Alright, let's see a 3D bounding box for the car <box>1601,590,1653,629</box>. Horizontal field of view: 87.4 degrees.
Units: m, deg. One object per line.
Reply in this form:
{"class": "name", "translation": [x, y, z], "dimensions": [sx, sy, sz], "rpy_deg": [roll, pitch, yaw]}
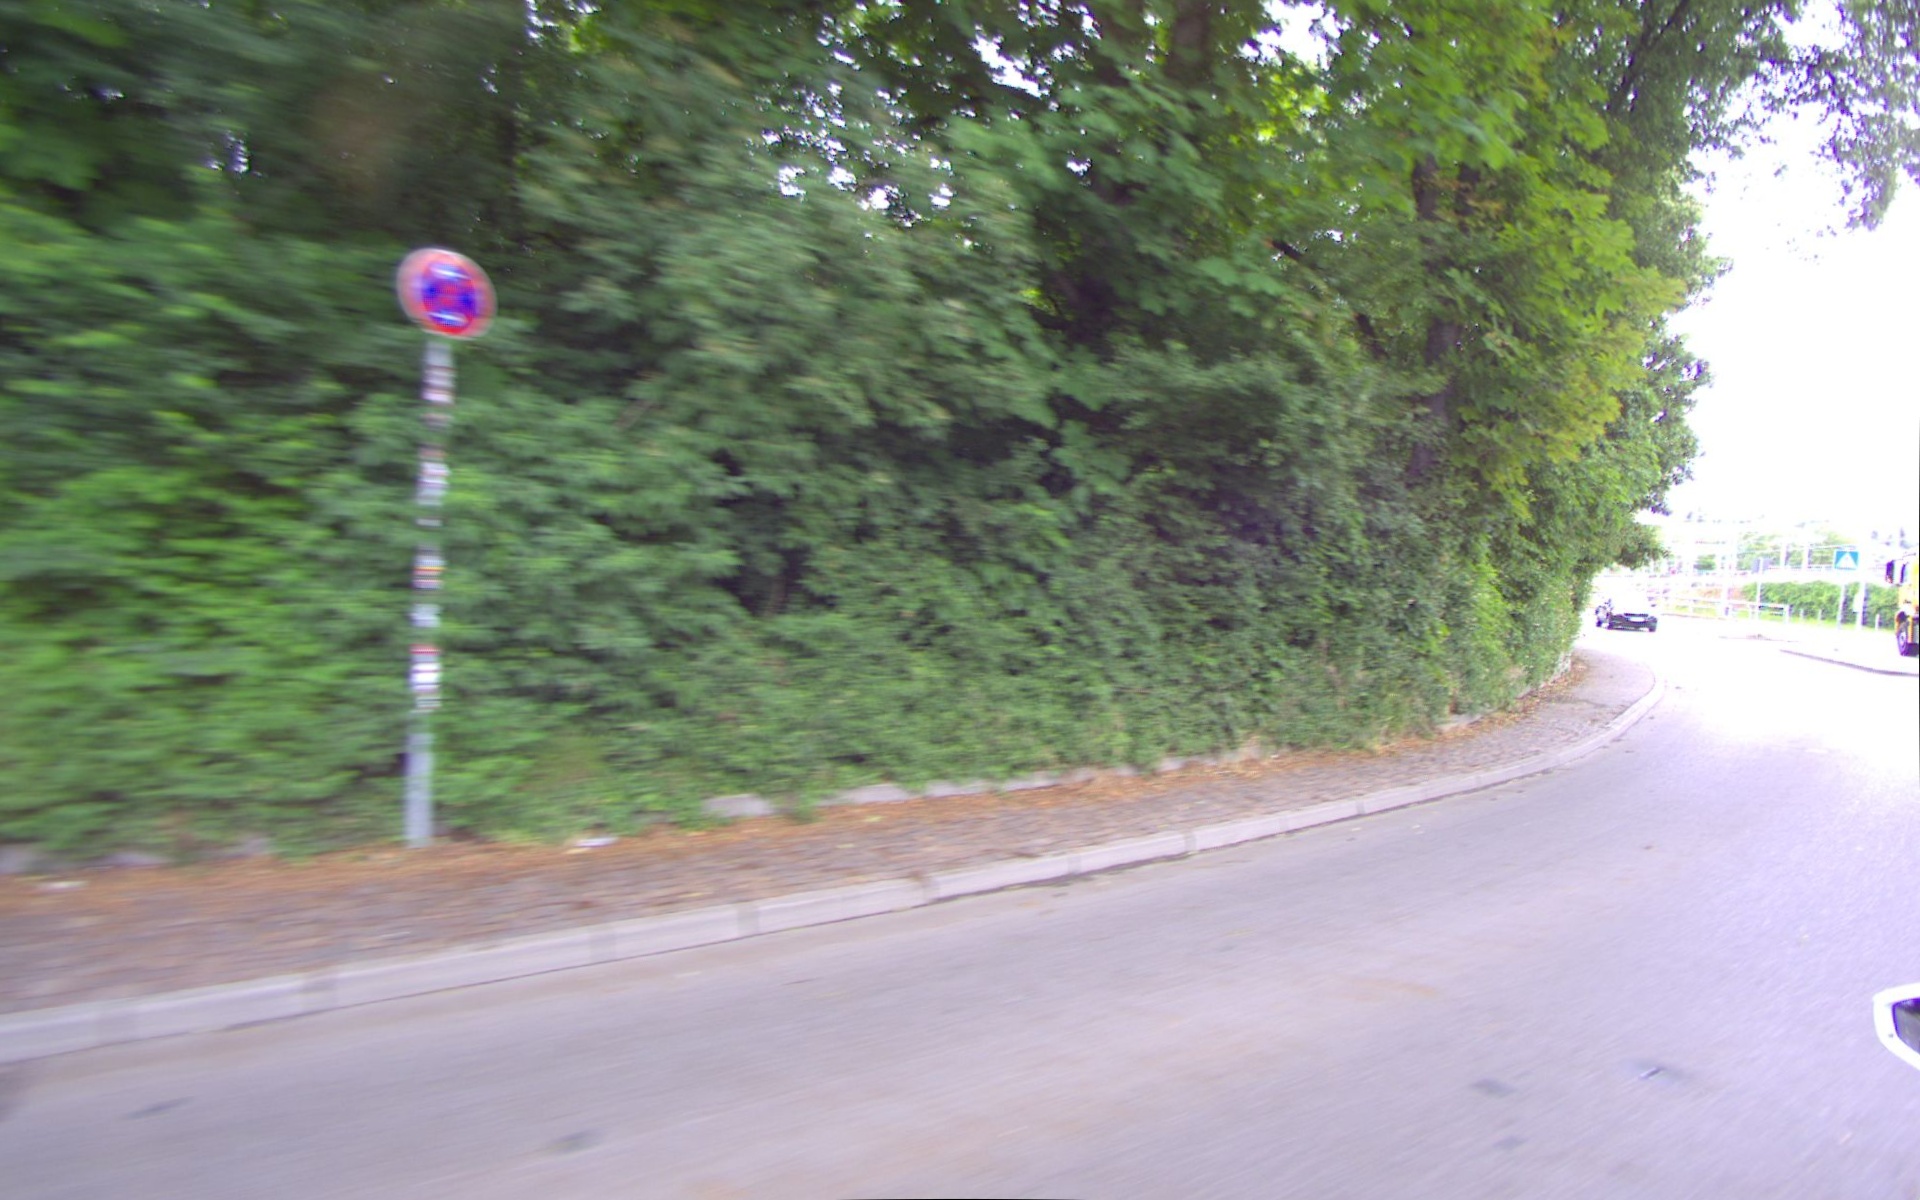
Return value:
{"class": "car", "translation": [29.409, 0.393, 44.376], "dimensions": [1.777, 1.631, 4.165], "rpy_deg": [0, 0, 32]}

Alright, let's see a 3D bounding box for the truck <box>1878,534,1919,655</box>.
{"class": "truck", "translation": [29.553, -0.100, 29.015], "dimensions": [2.725, 3.531, 8.109], "rpy_deg": [4, 4, 31]}
